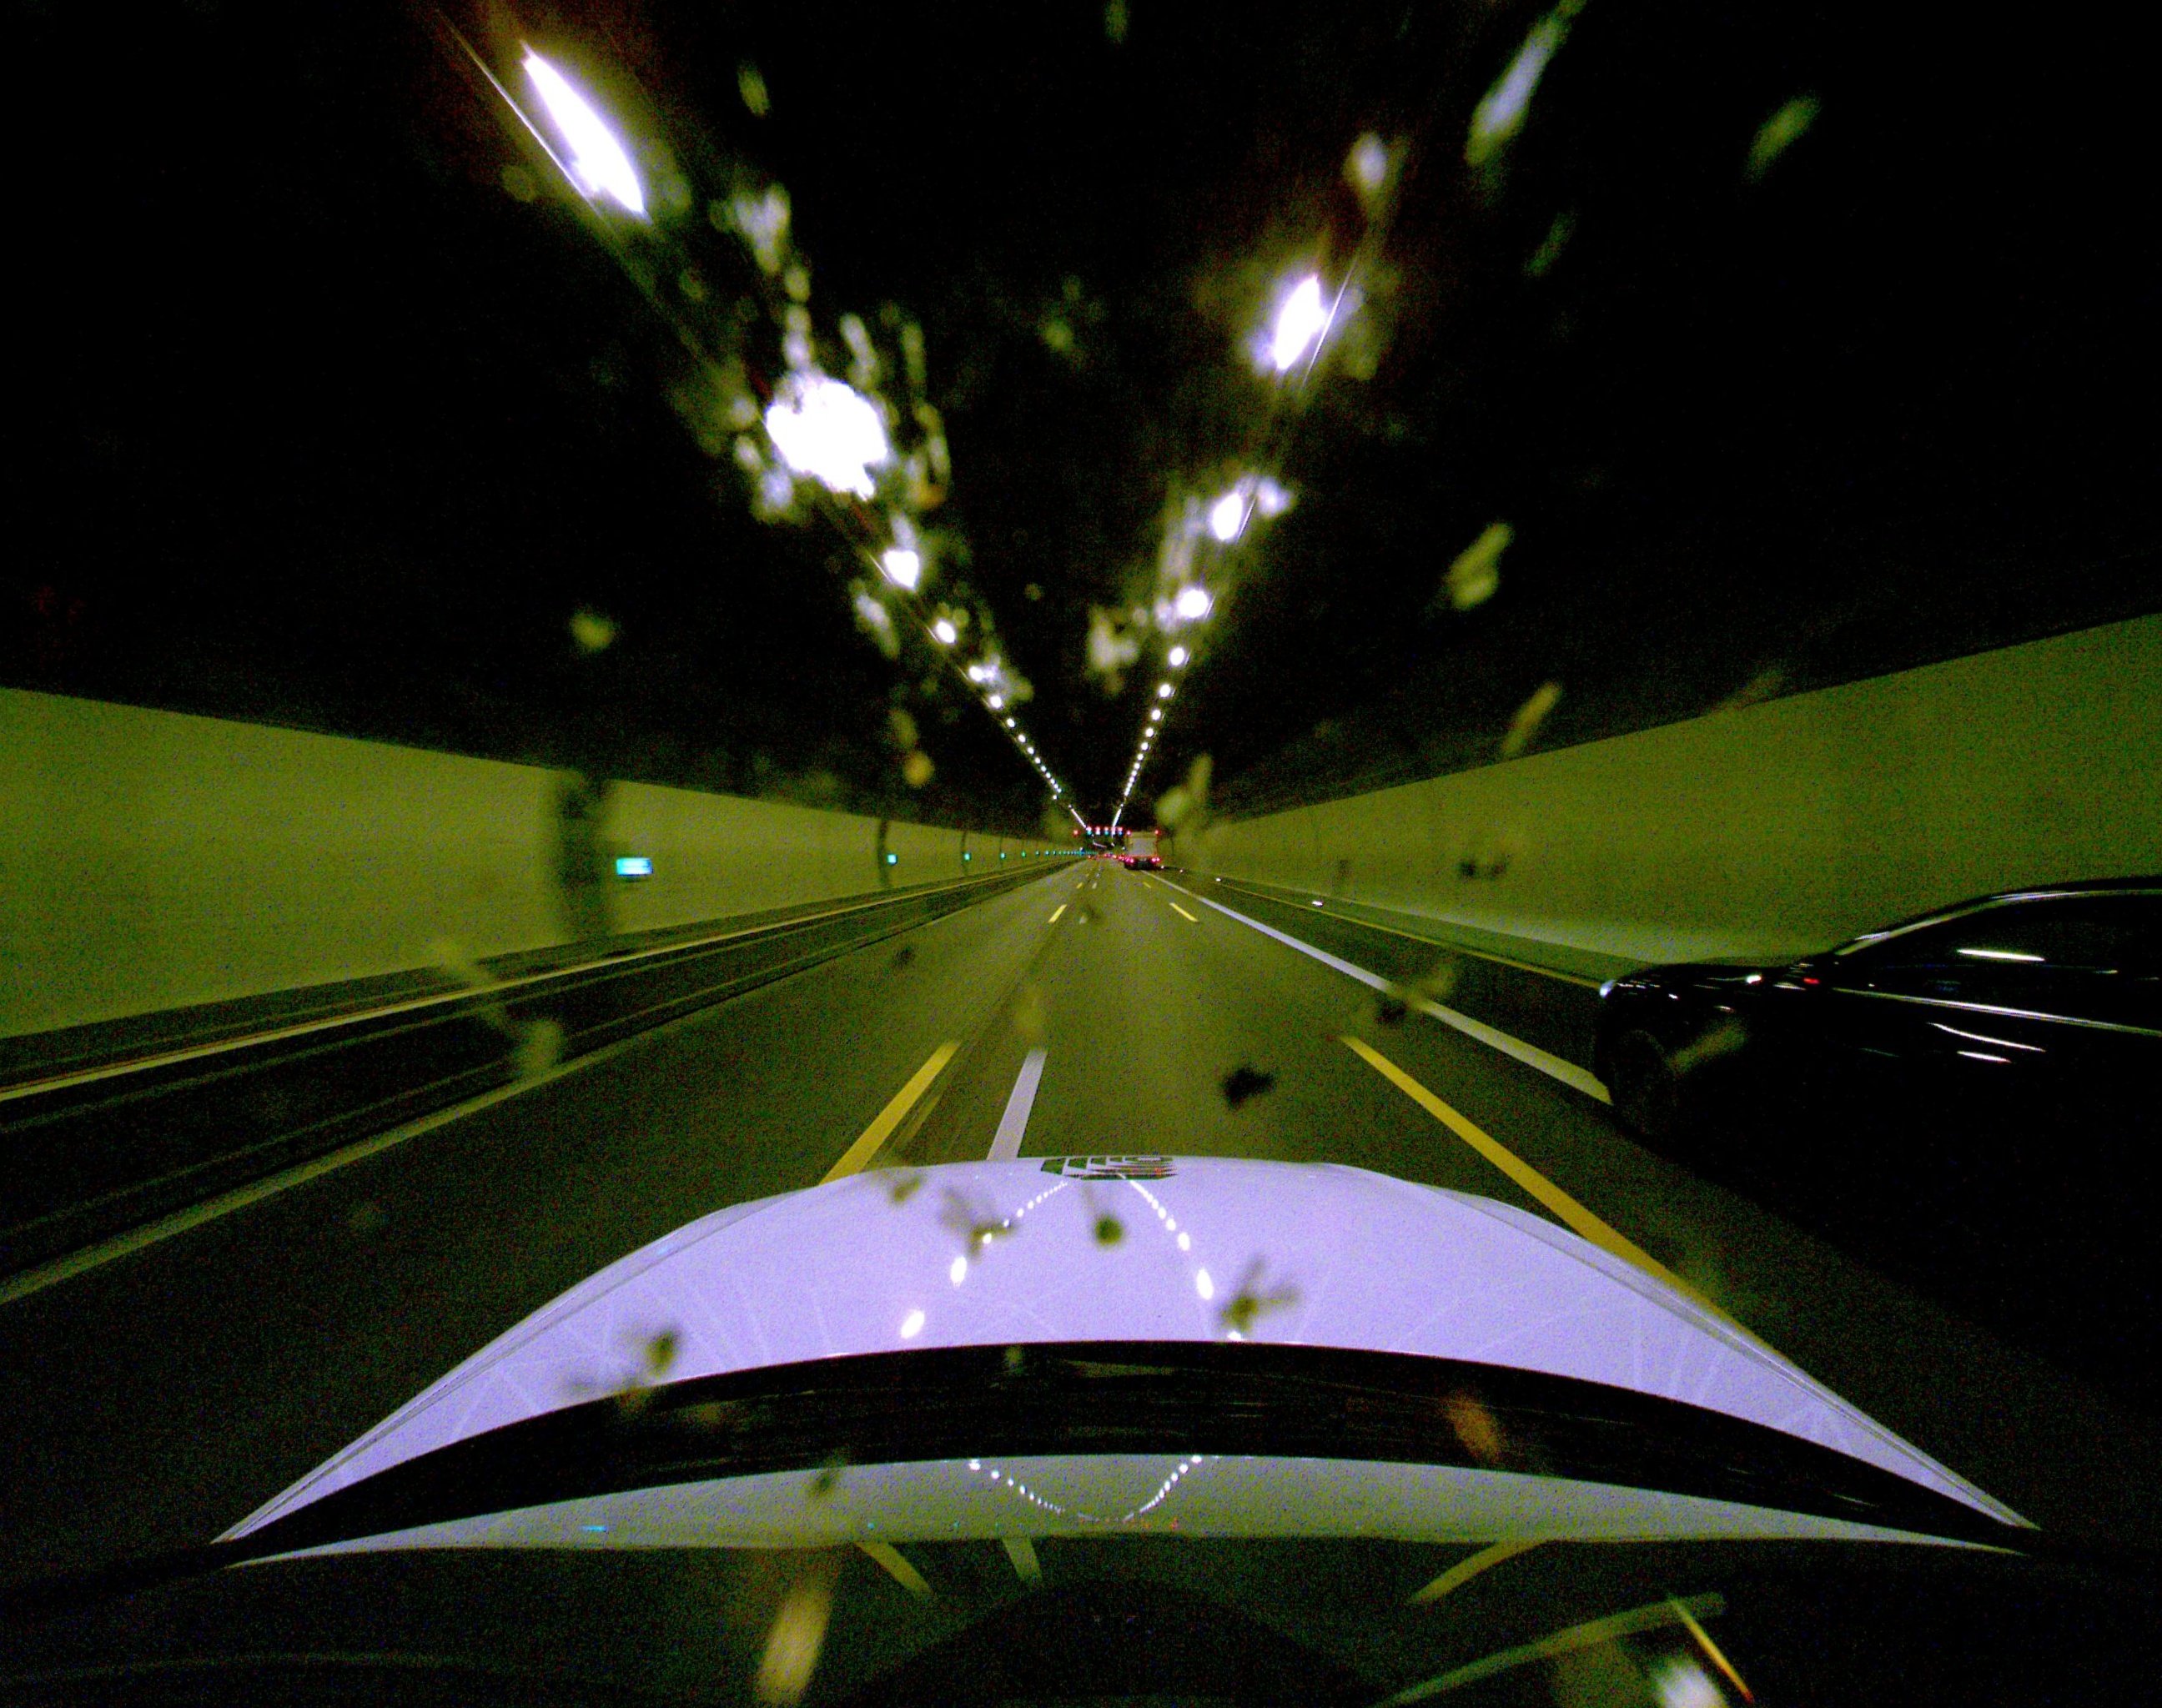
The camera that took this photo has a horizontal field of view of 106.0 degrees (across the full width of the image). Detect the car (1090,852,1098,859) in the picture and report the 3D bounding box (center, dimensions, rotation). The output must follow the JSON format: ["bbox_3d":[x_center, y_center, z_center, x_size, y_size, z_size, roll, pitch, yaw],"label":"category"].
[{"bbox_3d":[2.870,0.373,183.960,1.752,1.461,4.121,1,1,2],"label":"car"}]

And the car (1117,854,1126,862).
[{"bbox_3d":[8.180,0.815,165.532,1.732,1.461,3.964,1,1,3],"label":"car"}]

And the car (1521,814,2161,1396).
[{"bbox_3d":[3.730,0.650,2.800,1.918,1.472,4.957,1,0,2],"label":"car"}]

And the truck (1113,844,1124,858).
[{"bbox_3d":[11.080,-0.850,238.838,3.053,3.918,10.376,1,-1,3],"label":"truck"}]

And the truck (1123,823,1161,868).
[{"bbox_3d":[5.609,-0.676,76.548,3.080,3.918,10.372,1,-1,2],"label":"truck"}]
